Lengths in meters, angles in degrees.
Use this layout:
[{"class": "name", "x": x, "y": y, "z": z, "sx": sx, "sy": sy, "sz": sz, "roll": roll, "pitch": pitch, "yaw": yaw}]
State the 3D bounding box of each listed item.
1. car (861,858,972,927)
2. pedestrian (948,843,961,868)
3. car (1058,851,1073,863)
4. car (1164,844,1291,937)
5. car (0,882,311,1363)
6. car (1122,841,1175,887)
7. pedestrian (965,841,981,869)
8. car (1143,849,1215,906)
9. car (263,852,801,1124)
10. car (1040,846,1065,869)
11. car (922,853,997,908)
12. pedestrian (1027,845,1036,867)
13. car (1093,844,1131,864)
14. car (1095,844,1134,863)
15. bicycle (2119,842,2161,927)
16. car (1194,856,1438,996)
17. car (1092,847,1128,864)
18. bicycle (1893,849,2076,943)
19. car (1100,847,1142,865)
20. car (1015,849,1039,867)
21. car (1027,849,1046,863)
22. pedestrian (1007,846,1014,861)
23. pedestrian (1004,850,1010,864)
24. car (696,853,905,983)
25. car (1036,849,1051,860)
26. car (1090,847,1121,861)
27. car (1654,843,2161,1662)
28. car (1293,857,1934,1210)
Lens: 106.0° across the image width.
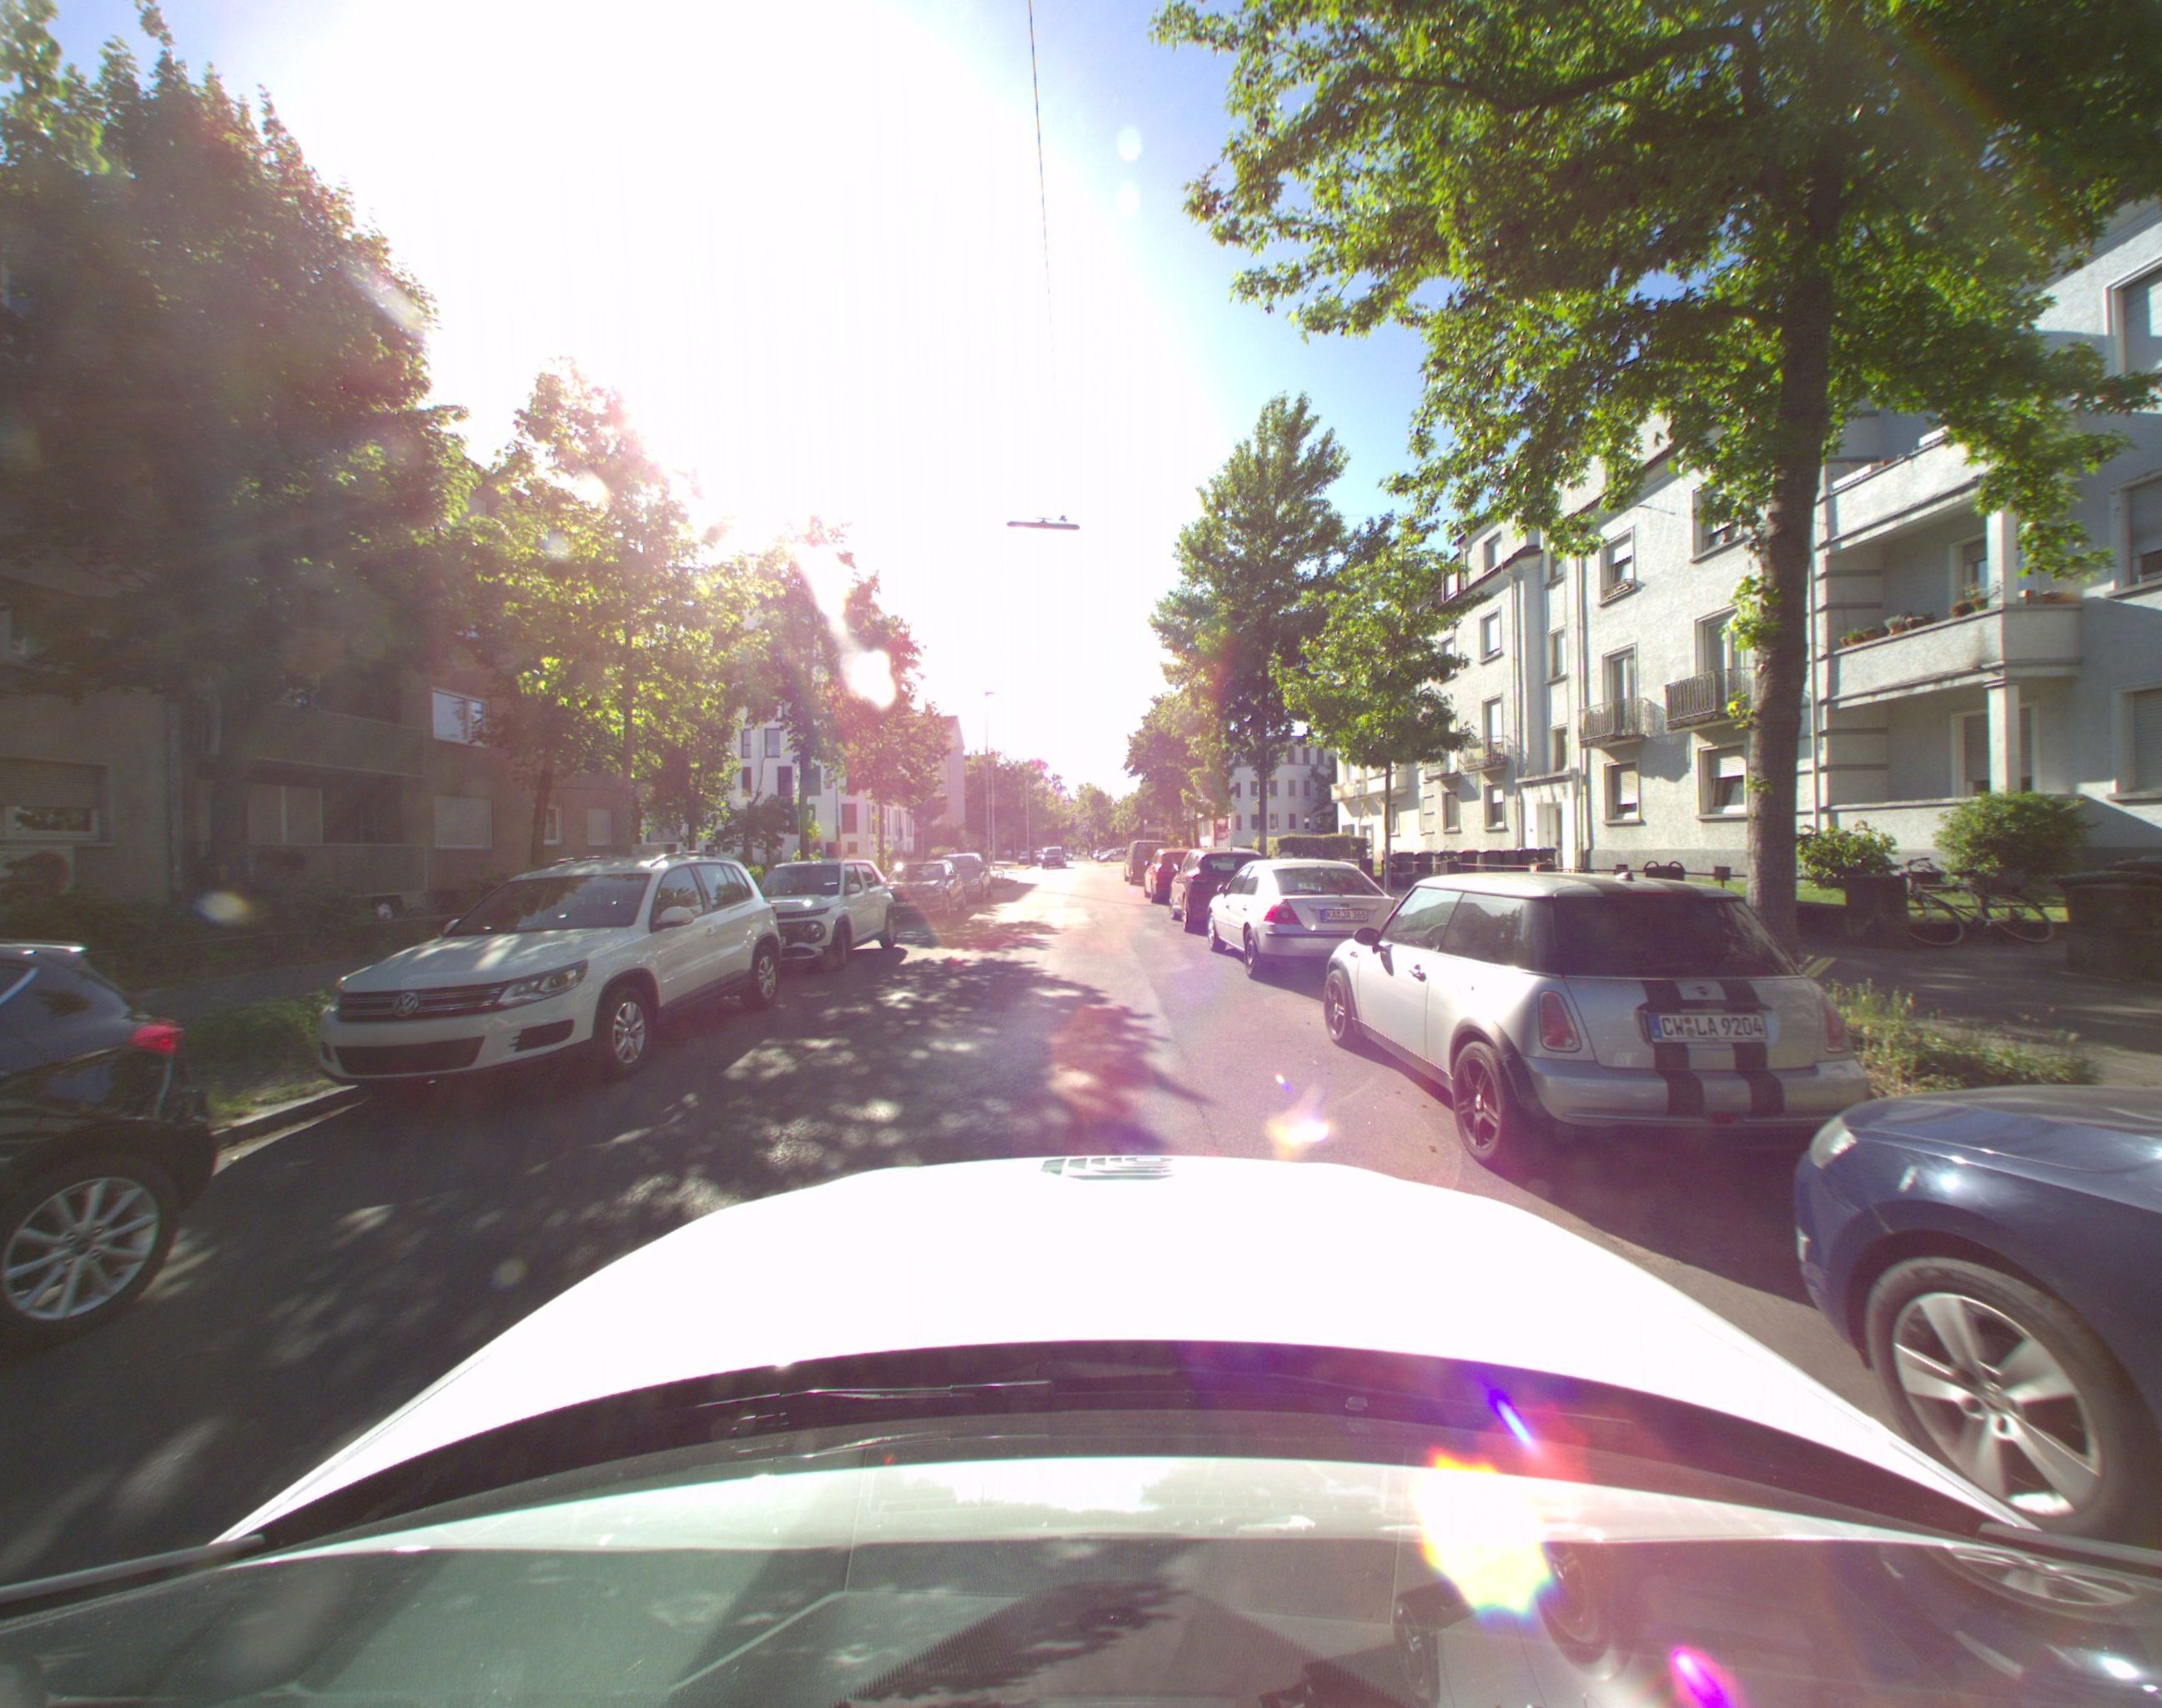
[{"class": "car", "x": -4.171, "y": 0.912, "z": 21.393, "sx": 1.987, "sy": 1.453, "sz": 4.261, "roll": -4, "pitch": 0, "yaw": 0}, {"class": "pedestrian", "x": -10.420, "y": 0.132, "z": 66.969, "sx": 0.857, "sy": 2.013, "sz": 0.980, "roll": -2, "pitch": 0, "yaw": -2}, {"class": "car", "x": -2.005, "y": 0.391, "z": 109.468, "sx": 1.889, "sy": 1.560, "sz": 3.999, "roll": -2, "pitch": 1, "yaw": 0}, {"class": "car", "x": 2.928, "y": 0.652, "z": 17.242, "sx": 1.901, "sy": 1.699, "sz": 4.313, "roll": 1, "pitch": 1, "yaw": 0}, {"class": "car", "x": -4.238, "y": 0.905, "z": 1.545, "sx": 1.756, "sy": 1.443, "sz": 3.907, "roll": -4, "pitch": 0, "yaw": 0}, {"class": "car", "x": 3.035, "y": 0.428, "z": 37.754, "sx": 1.965, "sy": 1.949, "sz": 4.984, "roll": -2, "pitch": 0, "yaw": 0}, {"class": "pedestrian", "x": -7.848, "y": 0.056, "z": 59.232, "sx": 0.854, "sy": 2.013, "sz": 0.983, "roll": -2, "pitch": 0, "yaw": 8}, {"class": "car", "x": 2.979, "y": 0.657, "z": 25.529, "sx": 1.828, "sy": 1.600, "sz": 4.159, "roll": 0, "pitch": 1, "yaw": 1}, {"class": "car", "x": -4.140, "y": 0.826, "z": 7.183, "sx": 1.805, "sy": 1.596, "sz": 4.232, "roll": -2, "pitch": 0, "yaw": 0}, {"class": "car", "x": -2.163, "y": 0.249, "z": 62.352, "sx": 1.778, "sy": 1.609, "sz": 3.998, "roll": -2, "pitch": 0, "yaw": -1}, {"class": "car", "x": -3.996, "y": 0.822, "z": 27.464, "sx": 1.834, "sy": 1.595, "sz": 4.261, "roll": -3, "pitch": 0, "yaw": 0}, {"class": "pedestrian", "x": -4.391, "y": 0.159, "z": 72.120, "sx": 0.715, "sy": 1.900, "sz": 0.834, "roll": -2, "pitch": 0, "yaw": -10}, {"class": "car", "x": 3.336, "y": -0.032, "z": 88.139, "sx": 3.977, "sy": 2.013, "sz": 1.998, "roll": -2, "pitch": 0, "yaw": -3}, {"class": "car", "x": 3.484, "y": -0.097, "z": 85.315, "sx": 3.977, "sy": 1.805, "sz": 1.888, "roll": -2, "pitch": 0, "yaw": -3}, {"class": "bicycle", "x": 13.553, "y": 0.317, "z": 9.746, "sx": 1.573, "sy": 0.971, "sz": 0.476, "roll": -5, "pitch": 0, "yaw": 1}, {"class": "car", "x": 2.877, "y": 0.786, "z": 11.164, "sx": 1.891, "sy": 1.474, "sz": 4.697, "roll": 1, "pitch": 0, "yaw": -1}, {"class": "car", "x": 3.301, "y": 0.153, "z": 92.641, "sx": 3.977, "sy": 1.830, "sz": 1.998, "roll": -2, "pitch": 0, "yaw": -3}, {"class": "bicycle", "x": 10.756, "y": 0.484, "z": 9.719, "sx": 1.574, "sy": 0.971, "sz": 0.501, "roll": -5, "pitch": 0, "yaw": 0}, {"class": "car", "x": 3.908, "y": 0.197, "z": 80.100, "sx": 3.979, "sy": 1.587, "sz": 1.724, "roll": -2, "pitch": 0, "yaw": -4}, {"class": "car", "x": -5.390, "y": 0.350, "z": 81.582, "sx": 1.987, "sy": 1.671, "sz": 4.000, "roll": -2, "pitch": 1, "yaw": 0}, {"class": "car", "x": -5.279, "y": 0.259, "z": 96.869, "sx": 1.987, "sy": 1.585, "sz": 4.000, "roll": -2, "pitch": 1, "yaw": 0}, {"class": "pedestrian", "x": -10.079, "y": -0.077, "z": 116.850, "sx": 0.858, "sy": 2.013, "sz": 0.979, "roll": -2, "pitch": 0, "yaw": -7}, {"class": "pedestrian", "x": -10.333, "y": 0.434, "z": 113.098, "sx": 0.761, "sy": 1.900, "sz": 0.817, "roll": -2, "pitch": 0, "yaw": -6}, {"class": "car", "x": -4.058, "y": 0.829, "z": 12.506, "sx": 1.704, "sy": 1.544, "sz": 3.931, "roll": -4, "pitch": 0, "yaw": 1}, {"class": "car", "x": -5.421, "y": 0.053, "z": 118.654, "sx": 1.987, "sy": 1.585, "sz": 4.000, "roll": -2, "pitch": 1, "yaw": 0}, {"class": "car", "x": 3.251, "y": 0.001, "z": 108.754, "sx": 3.983, "sy": 1.882, "sz": 1.995, "roll": -1, "pitch": 0, "yaw": -7}, {"class": "car", "x": 2.881, "y": 0.768, "z": 0.708, "sx": 1.687, "sy": 1.540, "sz": 4.441, "roll": -1, "pitch": 1, "yaw": 0}, {"class": "car", "x": 2.793, "y": 0.779, "z": 5.399, "sx": 1.783, "sy": 1.453, "sz": 3.781, "roll": -1, "pitch": 0, "yaw": 0}]
